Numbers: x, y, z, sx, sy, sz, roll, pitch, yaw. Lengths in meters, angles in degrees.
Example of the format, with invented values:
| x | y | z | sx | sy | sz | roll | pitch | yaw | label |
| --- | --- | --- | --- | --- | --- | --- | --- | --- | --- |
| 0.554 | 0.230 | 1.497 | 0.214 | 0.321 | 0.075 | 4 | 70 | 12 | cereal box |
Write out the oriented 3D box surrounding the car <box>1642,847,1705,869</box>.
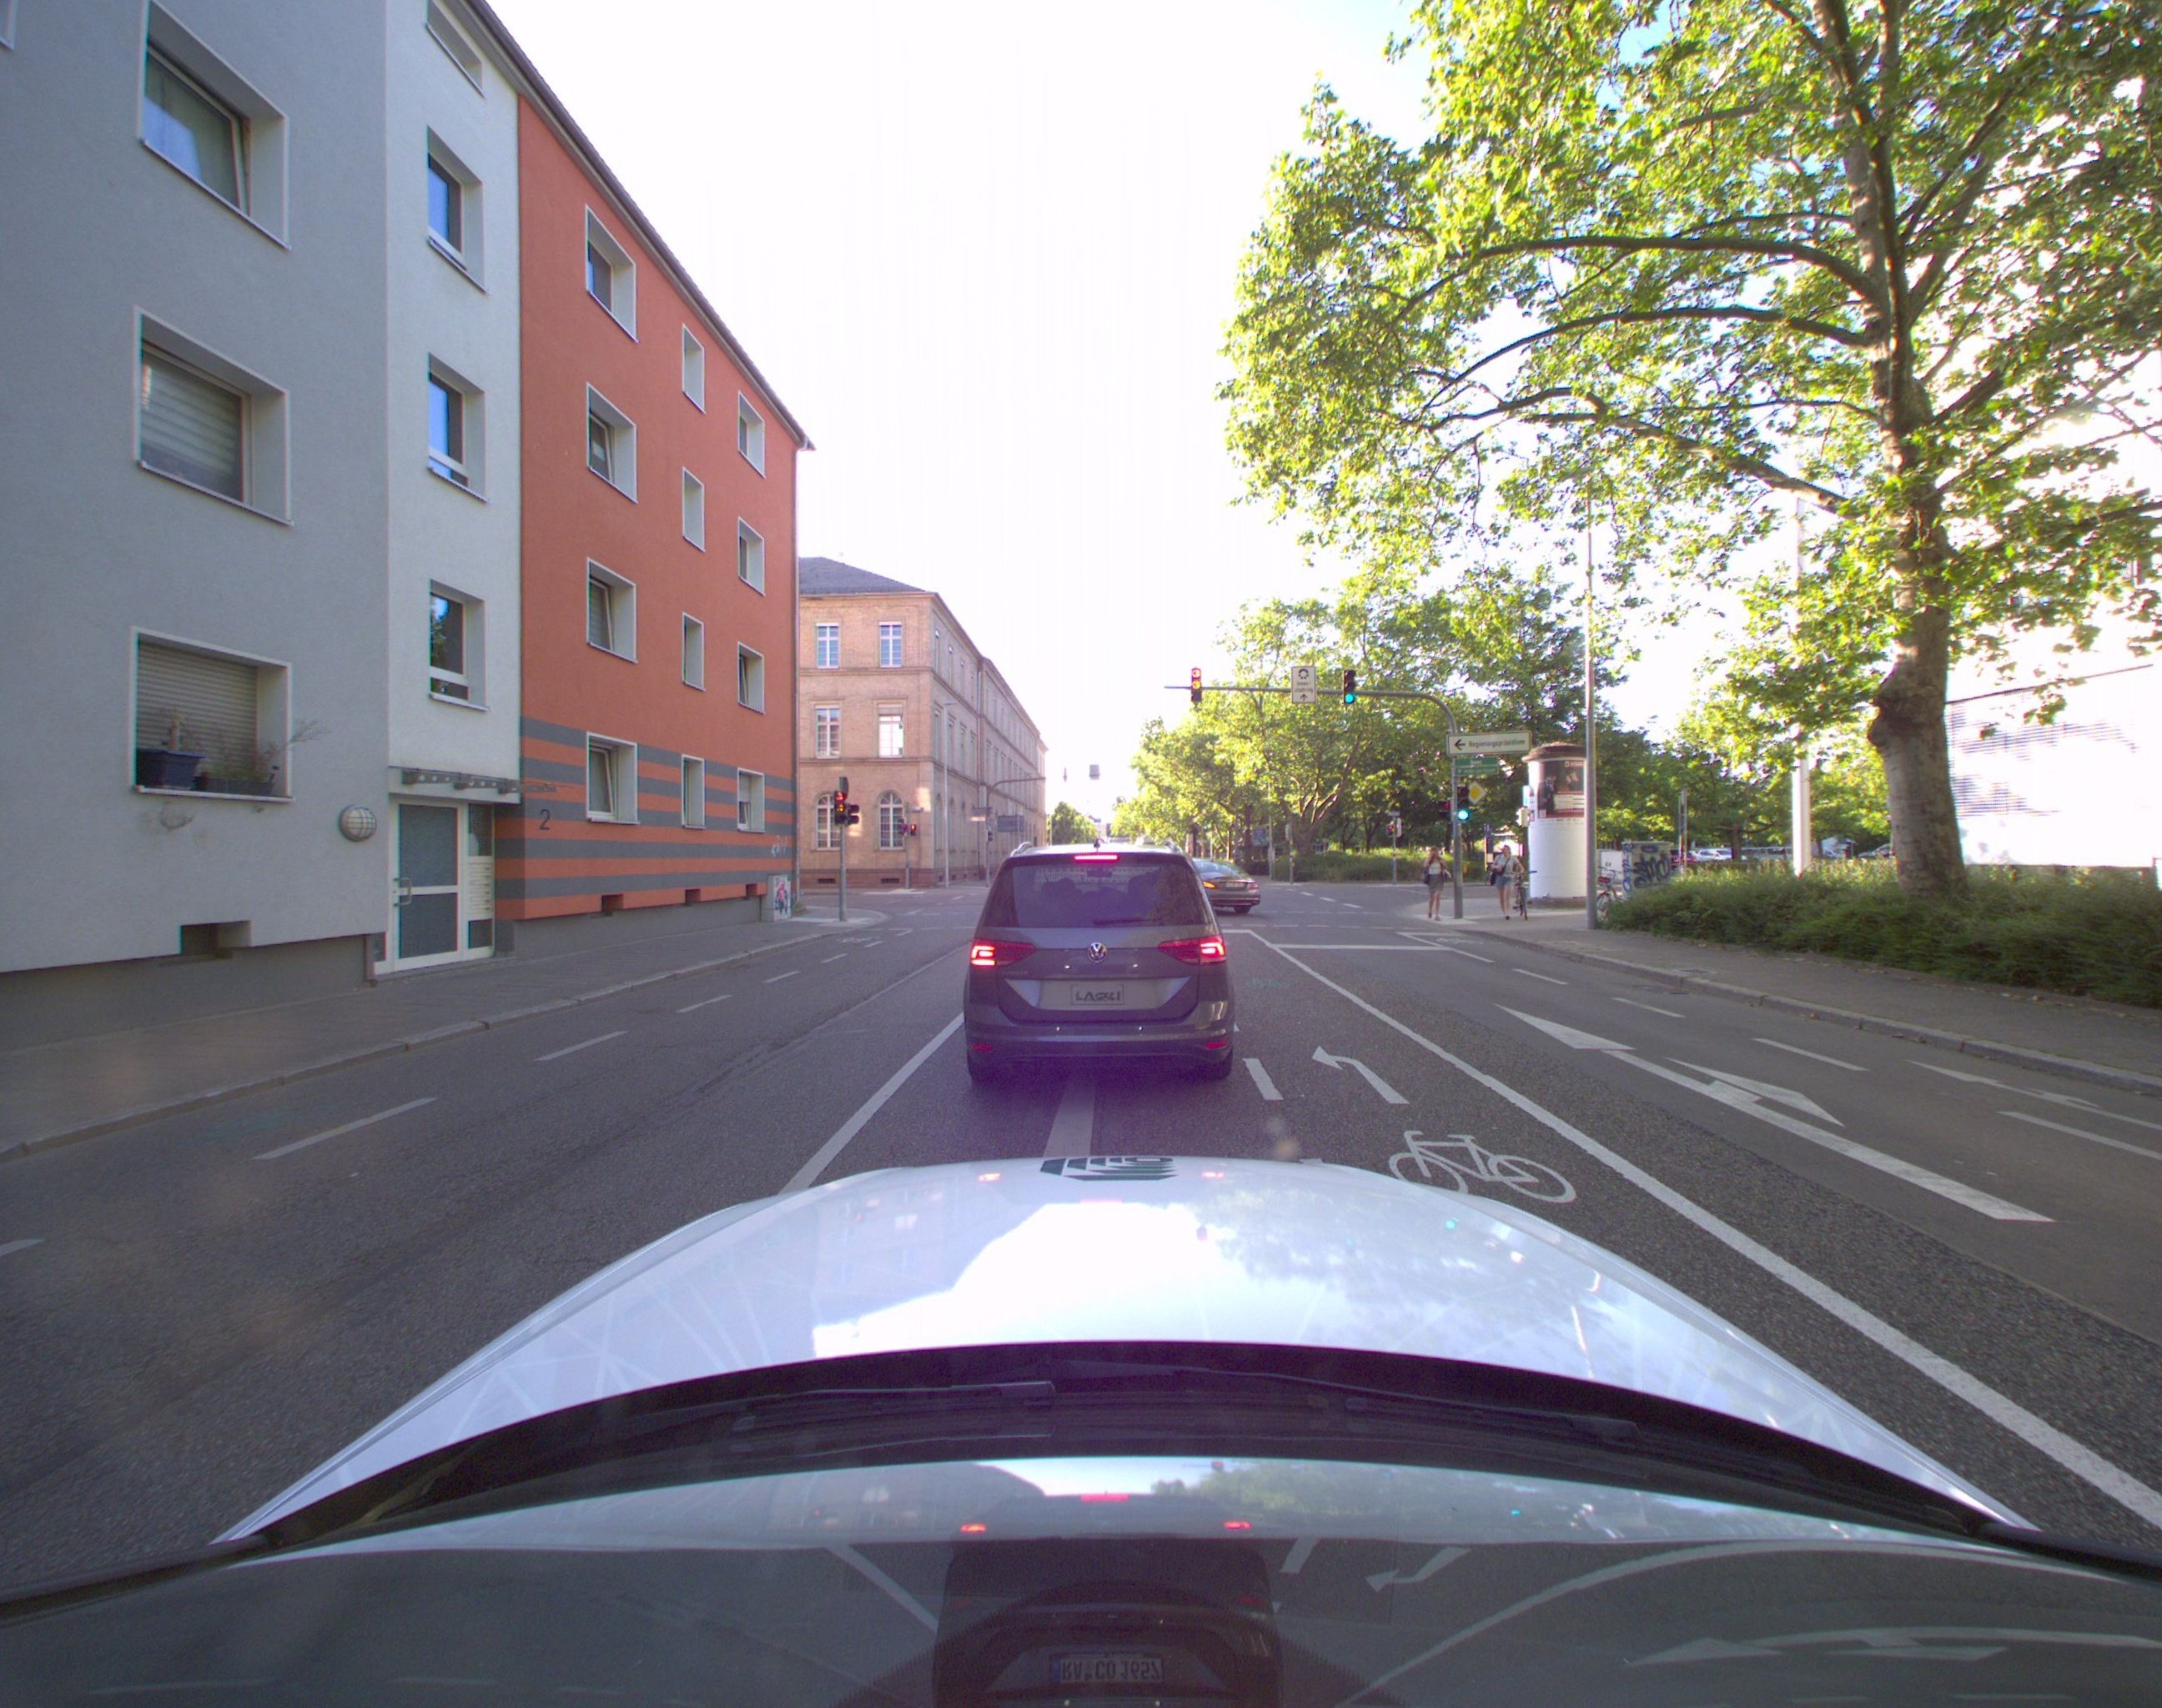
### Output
| x | y | z | sx | sy | sz | roll | pitch | yaw | label |
| --- | --- | --- | --- | --- | --- | --- | --- | --- | --- |
| 40.657 | 0.270 | 55.981 | 1.623 | 1.482 | 3.797 | 0 | 0 | 2 | car |

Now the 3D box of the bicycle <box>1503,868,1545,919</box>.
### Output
| x | y | z | sx | sy | sz | roll | pitch | yaw | label |
| --- | --- | --- | --- | --- | --- | --- | --- | --- | --- |
| 10.146 | 0.876 | 18.697 | 0.520 | 1.100 | 1.749 | 0 | 0 | 17 | bicycle |

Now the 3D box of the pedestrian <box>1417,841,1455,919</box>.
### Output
| x | y | z | sx | sy | sz | roll | pitch | yaw | label |
| --- | --- | --- | --- | --- | --- | --- | --- | --- | --- |
| 8.487 | 0.619 | 19.502 | 0.726 | 1.808 | 0.913 | -2 | -2 | 20 | pedestrian |

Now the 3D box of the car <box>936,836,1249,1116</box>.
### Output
| x | y | z | sx | sy | sz | roll | pitch | yaw | label |
| --- | --- | --- | --- | --- | --- | --- | --- | --- | --- |
| 0.216 | 0.728 | 6.747 | 1.801 | 1.612 | 4.005 | -1 | 0 | 4 | car |

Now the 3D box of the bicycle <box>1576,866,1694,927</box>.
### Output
| x | y | z | sx | sy | sz | roll | pitch | yaw | label |
| --- | --- | --- | --- | --- | --- | --- | --- | --- | --- |
| 10.987 | 0.828 | 16.192 | 1.968 | 1.190 | 0.528 | 0 | -1 | 1 | bicycle |

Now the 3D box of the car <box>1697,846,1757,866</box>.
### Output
| x | y | z | sx | sy | sz | roll | pitch | yaw | label |
| --- | --- | --- | --- | --- | --- | --- | --- | --- | --- |
| 48.380 | 0.139 | 61.068 | 1.566 | 1.468 | 3.797 | 0 | 0 | 2 | car |

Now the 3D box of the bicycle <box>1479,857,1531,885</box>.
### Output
| x | y | z | sx | sy | sz | roll | pitch | yaw | label |
| --- | --- | --- | --- | --- | --- | --- | --- | --- | --- |
| 18.892 | 0.762 | 36.304 | 2.022 | 1.220 | 0.600 | 0 | -1 | 2 | bicycle |

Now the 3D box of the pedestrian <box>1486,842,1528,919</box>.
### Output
| x | y | z | sx | sy | sz | roll | pitch | yaw | label |
| --- | --- | --- | --- | --- | --- | --- | --- | --- | --- |
| 9.749 | 0.592 | 18.664 | 0.678 | 1.697 | 0.975 | 0 | -1 | 17 | pedestrian |

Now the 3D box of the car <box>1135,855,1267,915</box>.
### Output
| x | y | z | sx | sy | sz | roll | pitch | yaw | label |
| --- | --- | --- | --- | --- | --- | --- | --- | --- | --- |
| 3.079 | 0.761 | 21.911 | 1.846 | 1.429 | 4.493 | 0 | 0 | -16 | car |

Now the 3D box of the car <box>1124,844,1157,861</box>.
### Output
| x | y | z | sx | sy | sz | roll | pitch | yaw | label |
| --- | --- | --- | --- | --- | --- | --- | --- | --- | --- |
| 6.360 | -0.199 | 86.955 | 1.721 | 1.611 | 3.869 | 3 | 0 | -26 | car |

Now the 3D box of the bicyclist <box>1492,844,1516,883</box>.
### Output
| x | y | z | sx | sy | sz | roll | pitch | yaw | label |
| --- | --- | --- | --- | --- | --- | --- | --- | --- | --- |
| 18.856 | 0.413 | 36.295 | 0.707 | 1.697 | 0.676 | 0 | -1 | 2 | bicyclist |
